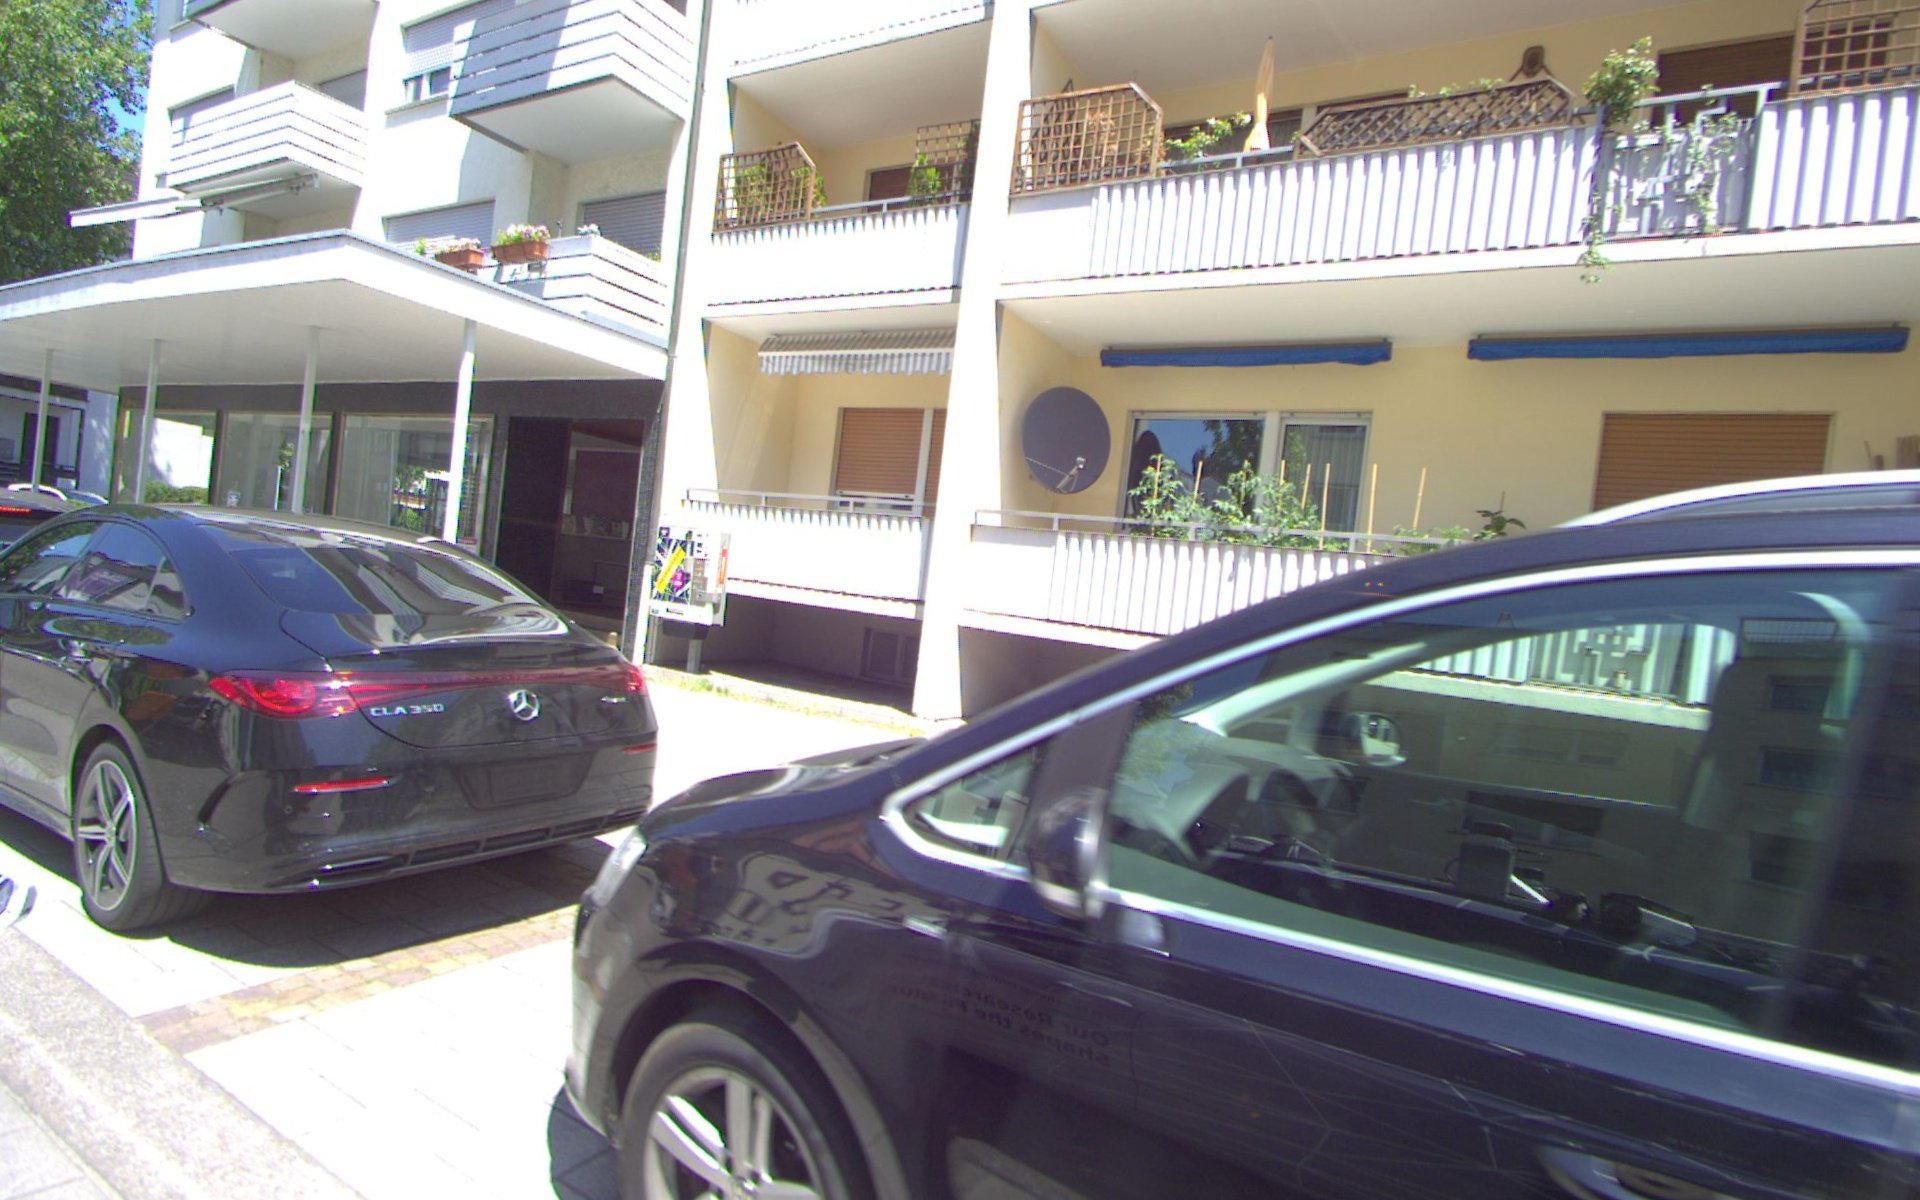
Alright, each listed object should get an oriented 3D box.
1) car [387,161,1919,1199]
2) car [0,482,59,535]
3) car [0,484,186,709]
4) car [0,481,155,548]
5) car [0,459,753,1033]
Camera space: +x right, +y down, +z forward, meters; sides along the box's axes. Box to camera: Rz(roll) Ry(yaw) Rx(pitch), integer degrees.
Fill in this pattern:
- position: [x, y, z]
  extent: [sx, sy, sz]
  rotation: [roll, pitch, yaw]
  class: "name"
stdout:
- position: [1.198, 0.547, 1.829]
  extent: [4.494, 1.822, 1.993]
  rotation: [9, 3, 33]
  class: "car"
- position: [-29.895, -2.942, 31.983]
  extent: [1.835, 1.473, 3.952]
  rotation: [3, 3, -42]
  class: "car"
- position: [-7.811, -0.198, 7.527]
  extent: [4.094, 1.433, 1.845]
  rotation: [6, 1, 32]
  class: "car"
- position: [-24.020, -2.292, 26.655]
  extent: [3.924, 1.473, 1.848]
  rotation: [5, 2, 4]
  class: "car"
- position: [-3.345, 0.260, 4.746]
  extent: [4.493, 1.550, 1.895]
  rotation: [6, 1, 32]
  class: "car"
